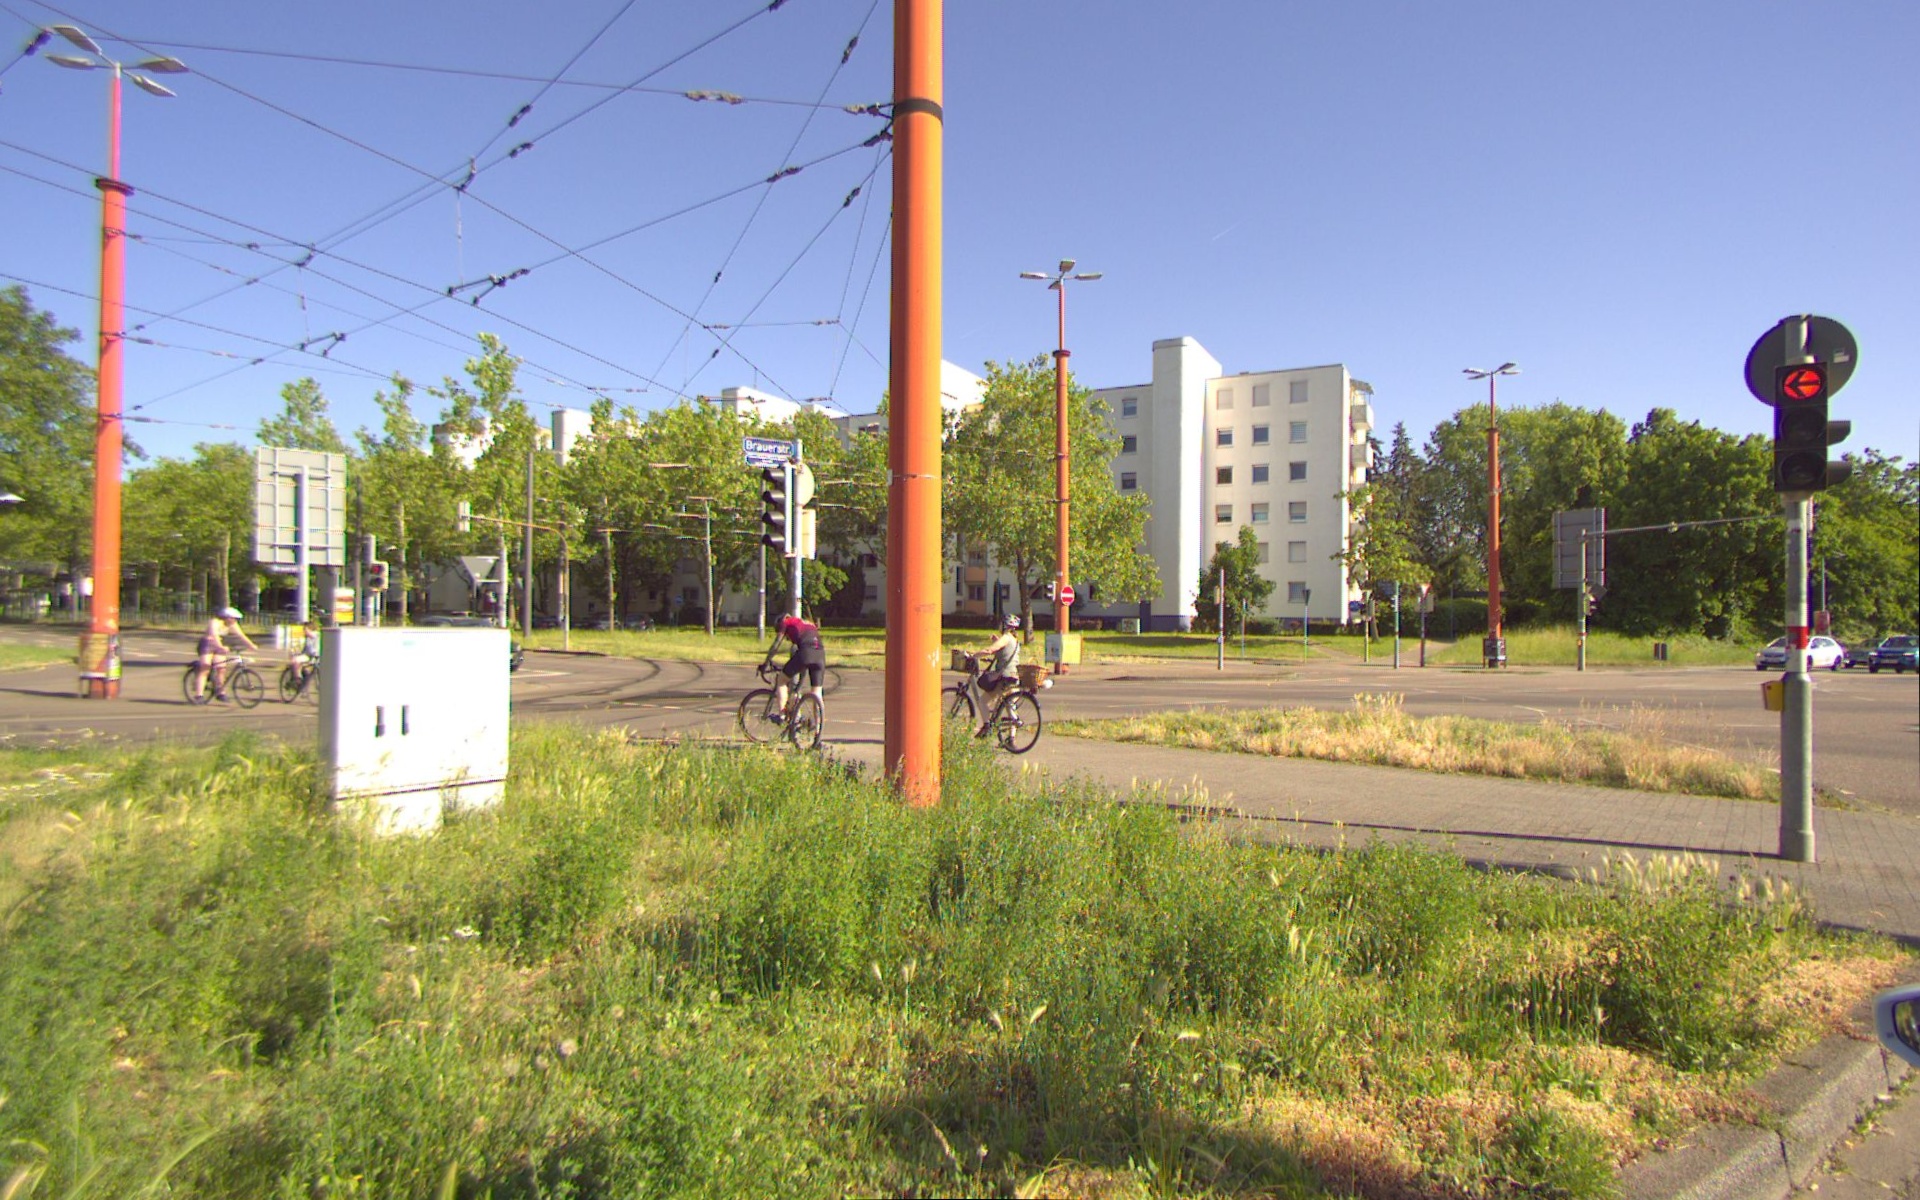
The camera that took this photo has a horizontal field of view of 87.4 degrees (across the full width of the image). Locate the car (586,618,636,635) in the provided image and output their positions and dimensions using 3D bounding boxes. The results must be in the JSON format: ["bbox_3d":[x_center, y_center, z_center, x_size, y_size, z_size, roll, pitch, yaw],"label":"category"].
[{"bbox_3d":[-25.825,1.989,74.315,3.279,1.149,1.321,2,0,-11],"label":"car"}]

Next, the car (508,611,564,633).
[{"bbox_3d":[-29.804,1.571,70.616,3.884,1.522,1.833,-1,-3,35],"label":"car"}]

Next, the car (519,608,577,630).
[{"bbox_3d":[-32.542,1.500,79.435,3.868,1.614,1.656,2,0,-8],"label":"car"}]

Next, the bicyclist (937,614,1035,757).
[{"bbox_3d":[0.320,1.000,12.229,0.815,1.643,0.888,0,-1,41],"label":"bicyclist"}]

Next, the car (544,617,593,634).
[{"bbox_3d":[-29.323,1.883,75.343,3.219,1.172,1.357,2,0,-12],"label":"car"}]

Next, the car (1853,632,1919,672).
[{"bbox_3d":[37.303,2.041,39.765,3.813,1.535,1.793,1,-3,-30],"label":"car"}]

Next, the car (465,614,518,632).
[{"bbox_3d":[-38.834,1.911,83.391,3.665,1.349,1.496,2,0,-8],"label":"car"}]

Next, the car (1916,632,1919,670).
[{"bbox_3d":[42.613,2.171,42.715,3.955,1.575,1.891,2,-2,-32],"label":"car"}]

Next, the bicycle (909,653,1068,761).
[{"bbox_3d":[0.321,1.250,12.187,1.887,1.146,0.737,0,-1,41],"label":"bicycle"}]

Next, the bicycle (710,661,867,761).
[{"bbox_3d":[-2.069,1.283,12.005,1.883,1.085,0.690,-2,-2,33],"label":"bicycle"}]

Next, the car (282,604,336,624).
[{"bbox_3d":[-66.295,1.455,102.360,4.274,2.010,1.932,1,-1,-19],"label":"car"}]

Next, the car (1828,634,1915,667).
[{"bbox_3d":[43.142,2.376,47.531,3.952,1.533,1.877,1,-2,-29],"label":"car"}]

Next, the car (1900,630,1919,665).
[{"bbox_3d":[49.103,2.401,50.426,3.930,1.673,1.769,3,-4,-32],"label":"car"}]

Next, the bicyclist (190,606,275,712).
[{"bbox_3d":[-13.593,1.080,18.778,0.905,1.892,0.893,2,0,17],"label":"bicyclist"}]

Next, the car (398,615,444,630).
[{"bbox_3d":[-46.620,1.917,86.957,3.370,1.204,1.439,2,0,-23],"label":"car"}]

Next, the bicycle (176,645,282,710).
[{"bbox_3d":[-13.636,1.436,18.736,1.877,1.086,0.580,2,0,17],"label":"bicycle"}]

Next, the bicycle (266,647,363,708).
[{"bbox_3d":[-12.852,1.532,19.999,1.878,1.086,0.580,2,0,19],"label":"bicycle"}]

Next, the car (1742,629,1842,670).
[{"bbox_3d":[35.372,2.112,42.687,4.168,1.673,1.869,2,-3,-29],"label":"car"}]

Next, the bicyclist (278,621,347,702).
[{"bbox_3d":[-12.890,1.199,20.006,0.906,1.545,0.720,2,0,20],"label":"bicyclist"}]

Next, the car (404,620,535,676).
[{"bbox_3d":[-15.216,1.438,31.100,3.977,1.516,1.913,2,0,34],"label":"car"}]

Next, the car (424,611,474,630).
[{"bbox_3d":[-43.253,1.754,85.103,3.592,1.480,1.608,2,0,-19],"label":"car"}]

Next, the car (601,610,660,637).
[{"bbox_3d":[-23.661,1.696,72.299,3.874,1.841,1.651,2,0,-13],"label":"car"}]

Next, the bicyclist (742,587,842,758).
[{"bbox_3d":[-2.004,0.840,11.965,0.974,1.938,0.685,-1,-2,33],"label":"bicyclist"}]

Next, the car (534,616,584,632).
[{"bbox_3d":[-30.890,1.850,77.440,3.346,1.162,1.305,2,0,-13],"label":"car"}]
